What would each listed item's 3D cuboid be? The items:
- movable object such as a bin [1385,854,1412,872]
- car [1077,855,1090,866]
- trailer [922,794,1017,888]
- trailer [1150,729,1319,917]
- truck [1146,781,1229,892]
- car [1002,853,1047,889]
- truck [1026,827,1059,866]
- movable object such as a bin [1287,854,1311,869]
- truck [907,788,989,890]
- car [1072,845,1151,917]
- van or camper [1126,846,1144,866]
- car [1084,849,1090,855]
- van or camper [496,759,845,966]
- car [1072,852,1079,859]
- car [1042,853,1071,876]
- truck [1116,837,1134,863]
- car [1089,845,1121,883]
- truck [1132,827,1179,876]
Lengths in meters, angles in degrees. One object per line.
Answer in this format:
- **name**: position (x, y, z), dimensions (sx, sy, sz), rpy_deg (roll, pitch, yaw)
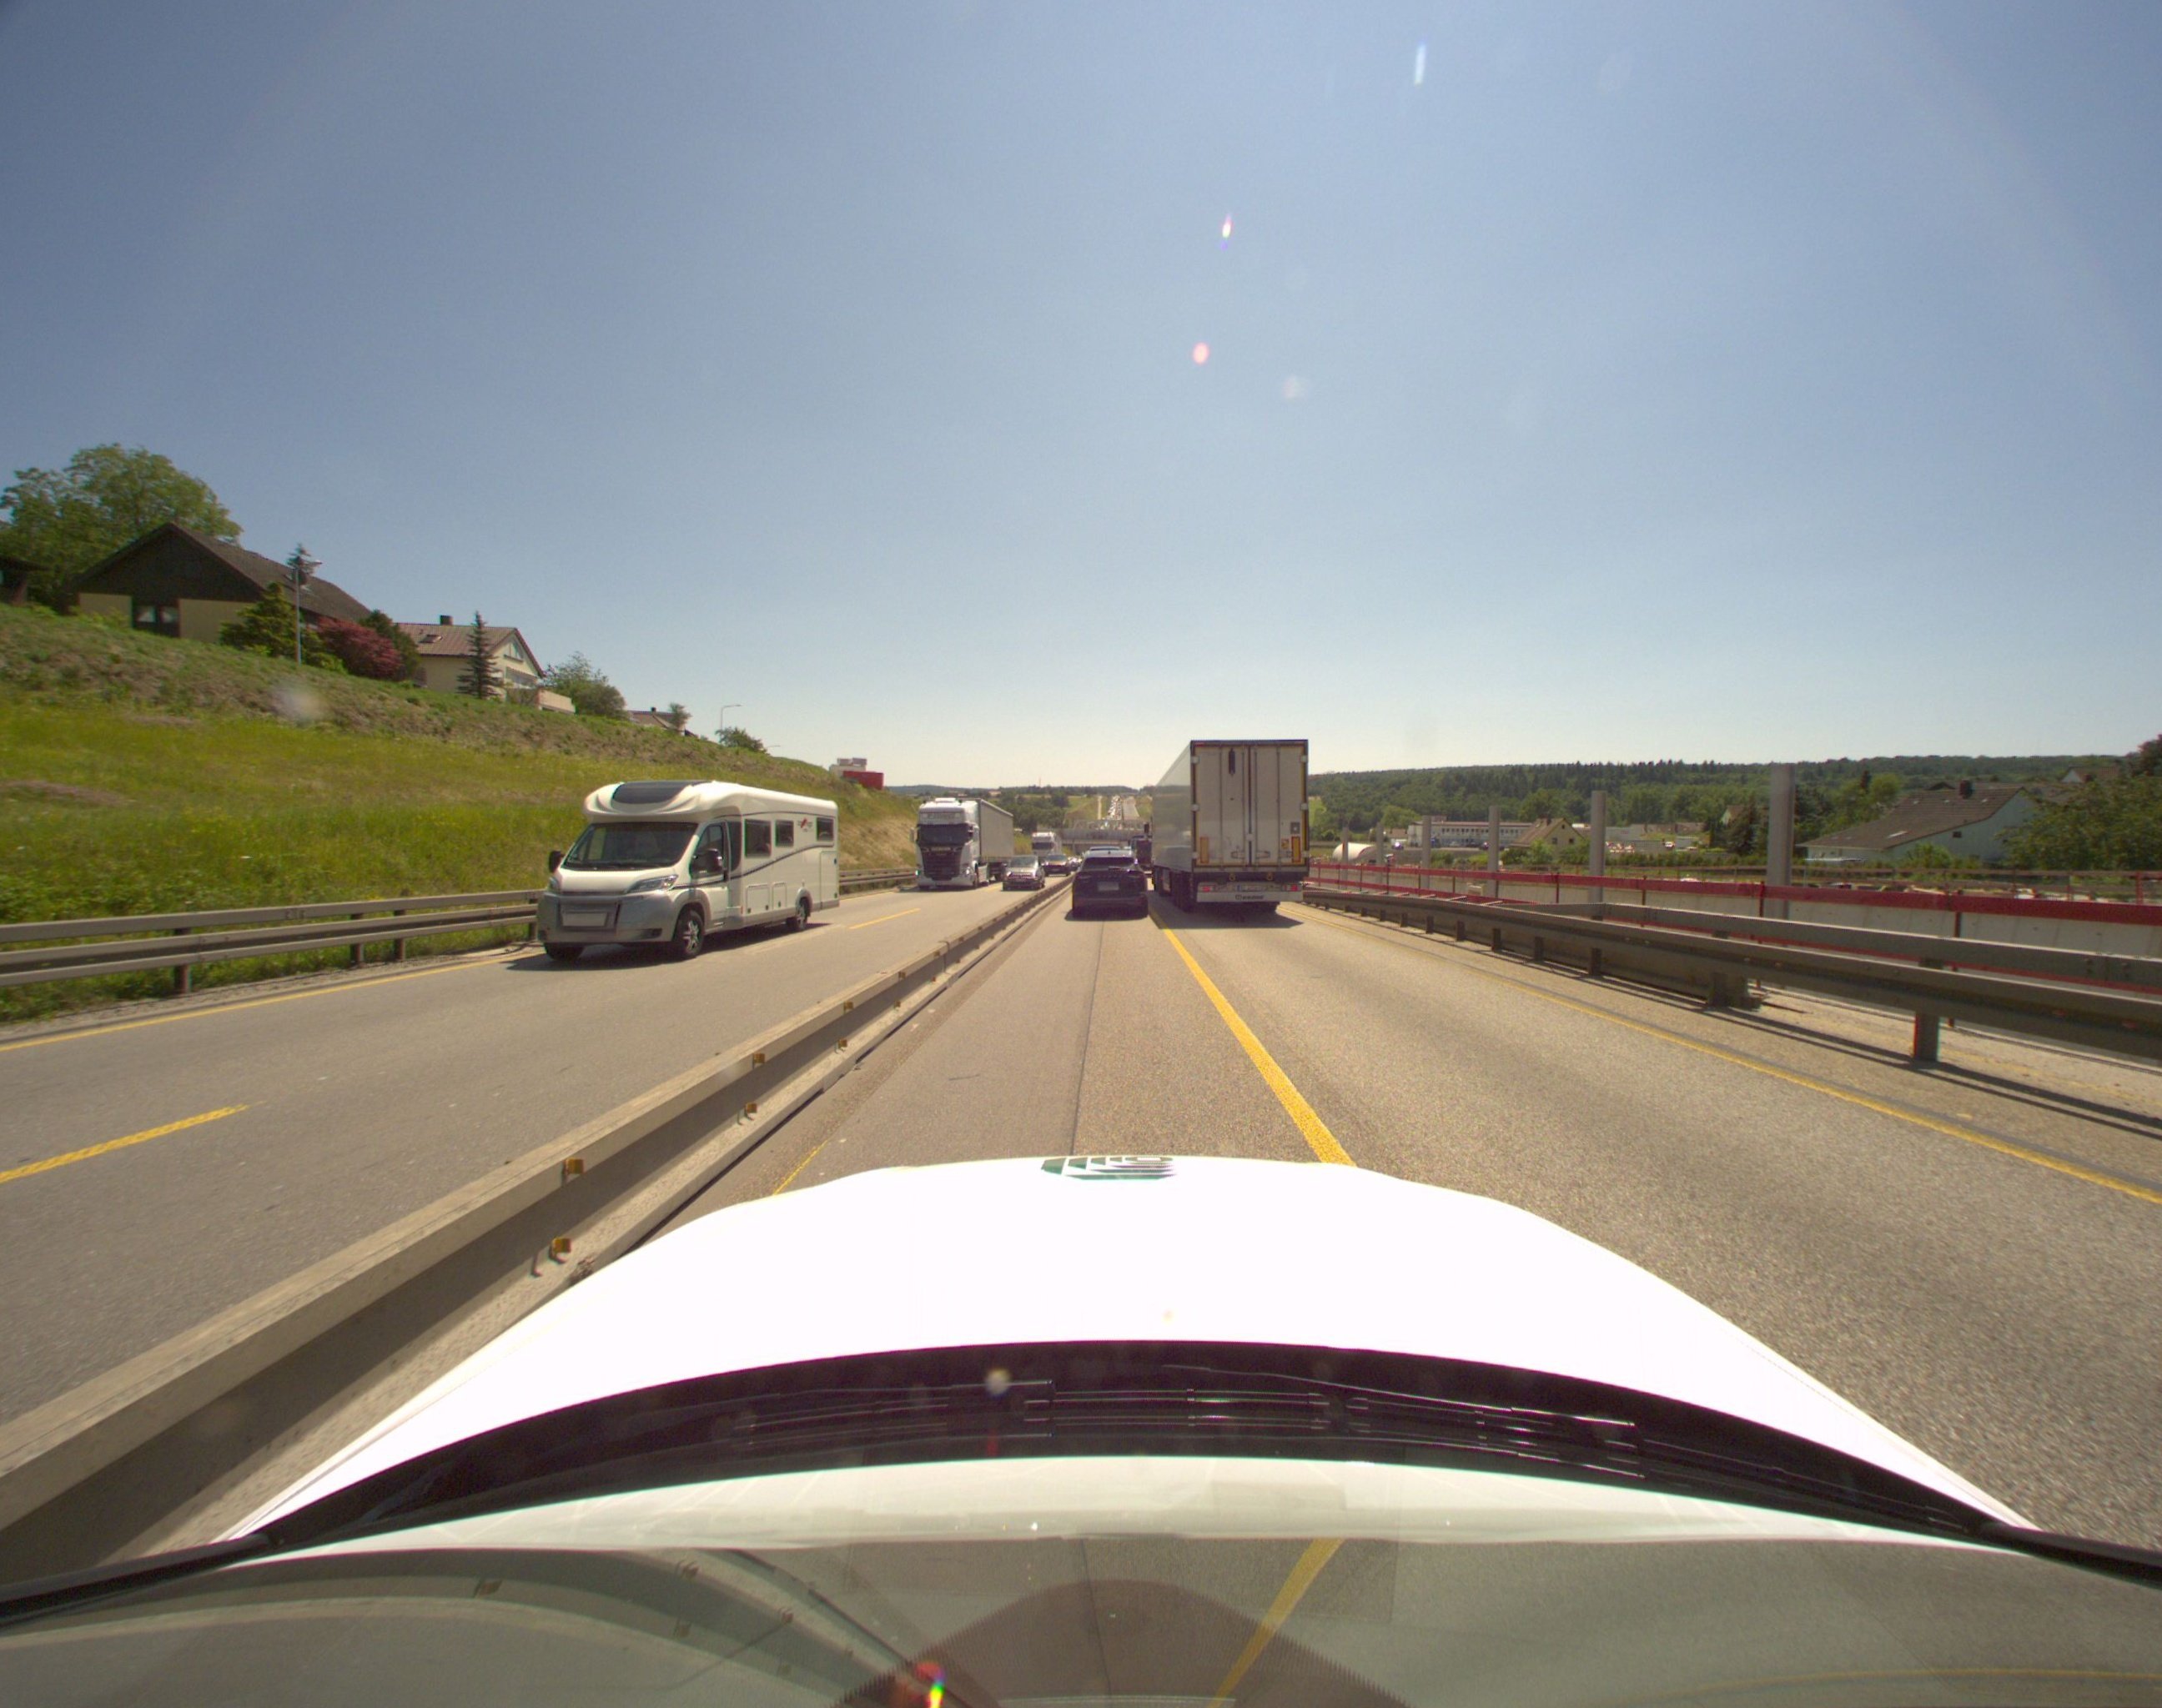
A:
- **movable object such as a bin**: position (40.808, 1.134, 104.766), dimensions (1.985, 2.239, 4.155), rpy_deg (0, 0, 3)
- **car**: position (0.384, 0.941, 125.080), dimensions (1.805, 1.638, 4.365), rpy_deg (-1, 0, 3)
- **trailer**: position (-5.645, -0.610, 44.148), dimensions (2.800, 4.286, 14.039), rpy_deg (0, 0, 2)
- **trailer**: position (3.927, -0.611, 24.780), dimensions (2.791, 4.058, 14.120), rpy_deg (-1, -1, 2)
- **truck**: position (4.128, -0.624, 32.613), dimensions (2.766, 4.058, 4.905), rpy_deg (-1, -1, 1)
- **car**: position (-2.407, 0.696, 35.384), dimensions (1.623, 1.479, 3.381), rpy_deg (0, 0, 1)
- **truck**: position (-4.175, -0.757, 89.661), dimensions (3.227, 4.160, 4.249), rpy_deg (-1, 0, 1)
- **movable object such as a bin**: position (44.060, 1.579, 164.824), dimensions (2.876, 2.909, 9.485), rpy_deg (0, 0, 3)
- **truck**: position (-5.849, -0.622, 36.547), dimensions (2.764, 4.286, 4.678), rpy_deg (0, 0, 1)
- **car**: position (0.750, 0.605, 20.199), dimensions (1.793, 1.620, 3.299), rpy_deg (0, 0, 2)
- **van or camper**: position (6.363, 0.240, 96.757), dimensions (1.986, 2.244, 4.001), rpy_deg (1, 0, 1)
- **car**: position (1.841, -0.596, 250.223), dimensions (1.726, 1.794, 3.582), rpy_deg (0, 0, 1)
- **van or camper**: position (-6.640, 0.111, 14.771), dimensions (2.326, 2.777, 7.519), rpy_deg (-1, 0, 2)
- **car**: position (-1.213, 0.319, 186.298), dimensions (1.642, 1.416, 3.999), rpy_deg (-1, 0, 0)
- **car**: position (-1.704, 0.720, 57.905), dimensions (1.842, 1.586, 4.175), rpy_deg (0, 0, 1)
- **truck**: position (6.951, -0.617, 129.459), dimensions (2.508, 3.959, 7.602), rpy_deg (1, 0, 2)
- **car**: position (1.227, 0.456, 40.933), dimensions (1.468, 1.795, 3.301), rpy_deg (-1, 0, 4)
- **truck**: position (5.144, -0.098, 58.360), dimensions (2.802, 3.135, 12.846), rpy_deg (-1, -1, 3)
